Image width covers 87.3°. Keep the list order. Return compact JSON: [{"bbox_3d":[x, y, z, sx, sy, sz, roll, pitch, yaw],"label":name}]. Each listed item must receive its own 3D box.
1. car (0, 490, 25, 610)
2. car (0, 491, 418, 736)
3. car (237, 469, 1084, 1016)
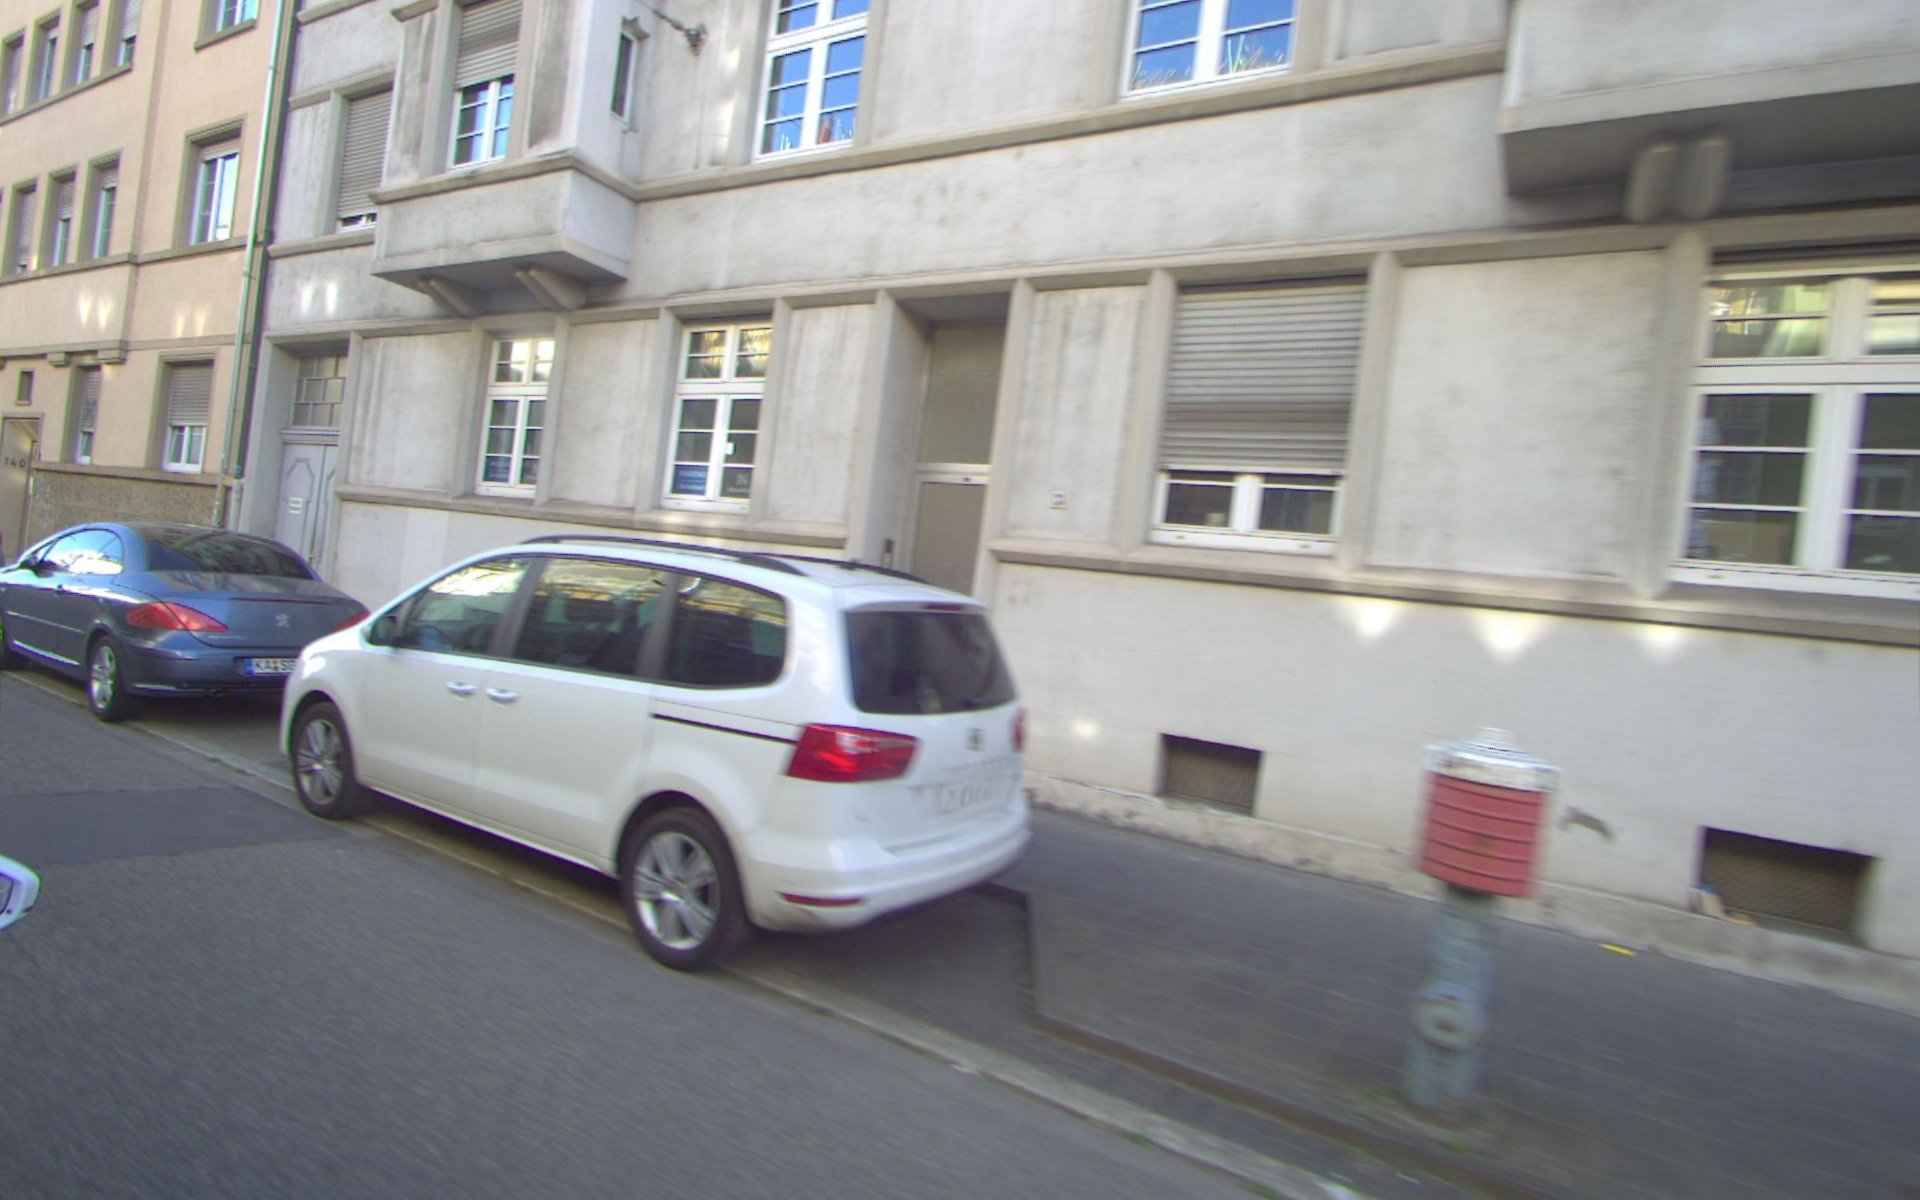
[{"bbox_3d":[-14.512,-0.905,13.566,4.152,1.538,1.666,7,0,32],"label":"car"},{"bbox_3d":[-6.690,0.021,8.545,4.152,1.505,1.725,7,0,32],"label":"car"},{"bbox_3d":[-1.866,0.426,5.593,4.608,1.850,1.733,7,0,32],"label":"car"}]
